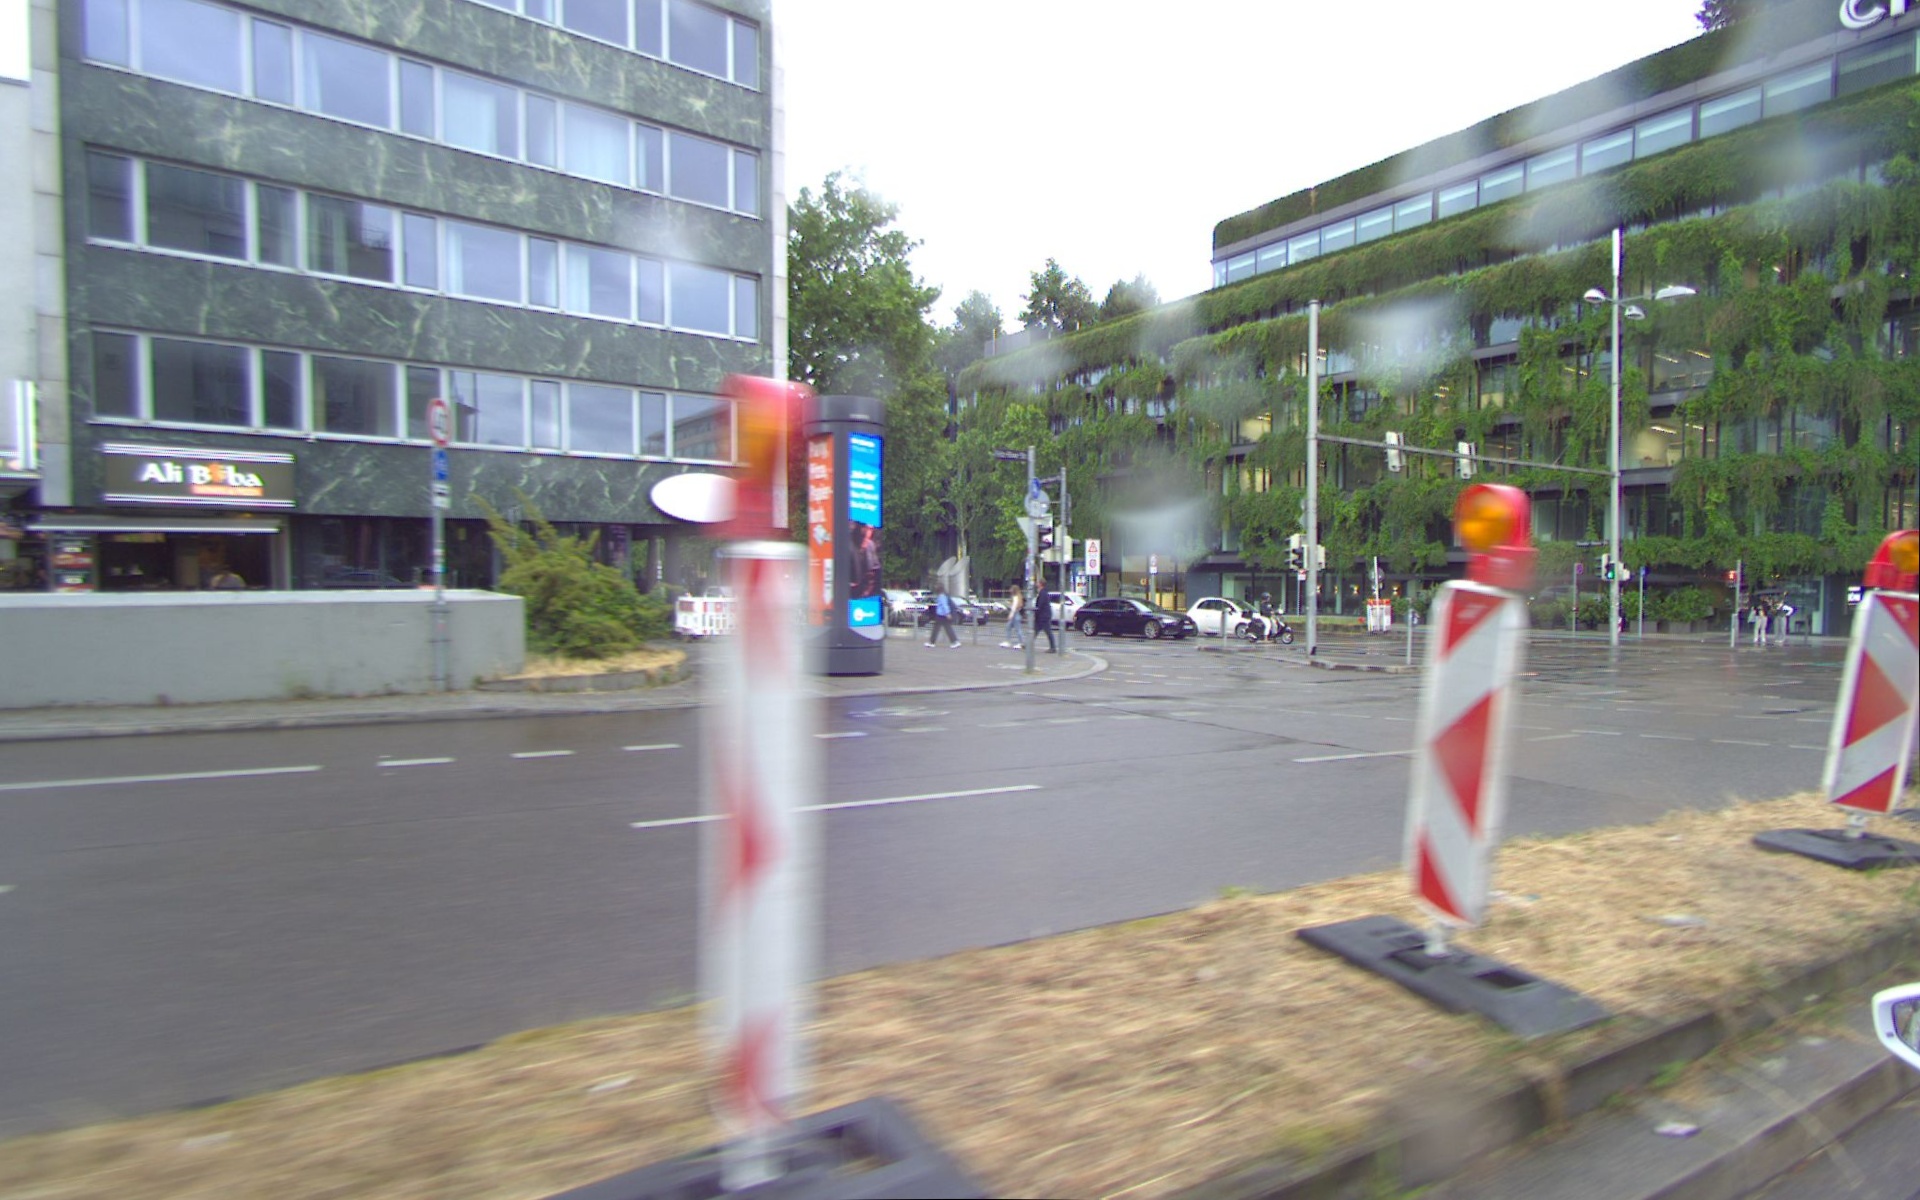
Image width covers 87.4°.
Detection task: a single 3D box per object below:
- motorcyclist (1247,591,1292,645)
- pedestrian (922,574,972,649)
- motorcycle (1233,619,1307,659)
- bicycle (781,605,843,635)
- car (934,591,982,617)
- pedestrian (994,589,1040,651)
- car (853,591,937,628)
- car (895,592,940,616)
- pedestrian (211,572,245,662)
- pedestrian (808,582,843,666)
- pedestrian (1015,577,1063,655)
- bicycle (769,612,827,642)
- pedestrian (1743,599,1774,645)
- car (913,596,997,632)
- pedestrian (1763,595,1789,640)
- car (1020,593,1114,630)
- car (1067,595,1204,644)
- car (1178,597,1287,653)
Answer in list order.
[{"bbox_3d":[10.250,0.582,33.296,1.173,1.725,0.843,1,1,44],"label":"motorcyclist"},{"bbox_3d":[-0.344,0.308,26.127,0.868,1.878,1.015,0,-3,-34],"label":"pedestrian"},{"bbox_3d":[10.253,1.282,33.290,2.204,1.227,0.843,1,0,45],"label":"motorcycle"},{"bbox_3d":[-4.902,0.658,33.424,2.170,0.968,0.423,1,0,-43],"label":"bicycle"},{"bbox_3d":[-0.211,0.355,81.554,1.979,2.040,4.073,1,0,-34],"label":"car"},{"bbox_3d":[1.529,0.543,26.945,0.912,1.606,0.828,0,-3,-30],"label":"pedestrian"},{"bbox_3d":[-3.113,0.419,47.128,1.981,1.674,4.194,0,0,-37],"label":"car"},{"bbox_3d":[-3.678,0.327,86.458,1.979,2.040,4.073,1,0,-34],"label":"car"},{"bbox_3d":[-16.019,0.360,22.000,0.586,1.910,0.750,0,1,-36],"label":"pedestrian"},{"bbox_3d":[-2.767,0.486,20.603,0.679,1.675,0.757,1,1,-10],"label":"pedestrian"},{"bbox_3d":[1.971,0.405,25.079,0.887,1.910,0.781,0,-3,-30],"label":"pedestrian"},{"bbox_3d":[-5.175,0.864,32.040,1.773,0.947,0.473,1,0,-21],"label":"bicycle"},{"bbox_3d":[32.022,0.863,40.288,0.923,1.781,1.167,1,0,37],"label":"pedestrian"},{"bbox_3d":[-0.289,0.668,49.989,1.985,1.674,4.050,2,-1,-42],"label":"car"},{"bbox_3d":[32.435,0.682,39.944,0.732,1.781,0.972,1,0,37],"label":"pedestrian"},{"bbox_3d":[4.645,0.481,43.929,1.858,1.543,3.855,0,0,-42],"label":"car"},{"bbox_3d":[6.376,0.663,36.972,1.957,1.674,4.755,0,0,-43],"label":"car"},{"bbox_3d":[10.132,0.901,37.492,1.985,1.948,3.417,0,0,-42],"label":"car"}]
